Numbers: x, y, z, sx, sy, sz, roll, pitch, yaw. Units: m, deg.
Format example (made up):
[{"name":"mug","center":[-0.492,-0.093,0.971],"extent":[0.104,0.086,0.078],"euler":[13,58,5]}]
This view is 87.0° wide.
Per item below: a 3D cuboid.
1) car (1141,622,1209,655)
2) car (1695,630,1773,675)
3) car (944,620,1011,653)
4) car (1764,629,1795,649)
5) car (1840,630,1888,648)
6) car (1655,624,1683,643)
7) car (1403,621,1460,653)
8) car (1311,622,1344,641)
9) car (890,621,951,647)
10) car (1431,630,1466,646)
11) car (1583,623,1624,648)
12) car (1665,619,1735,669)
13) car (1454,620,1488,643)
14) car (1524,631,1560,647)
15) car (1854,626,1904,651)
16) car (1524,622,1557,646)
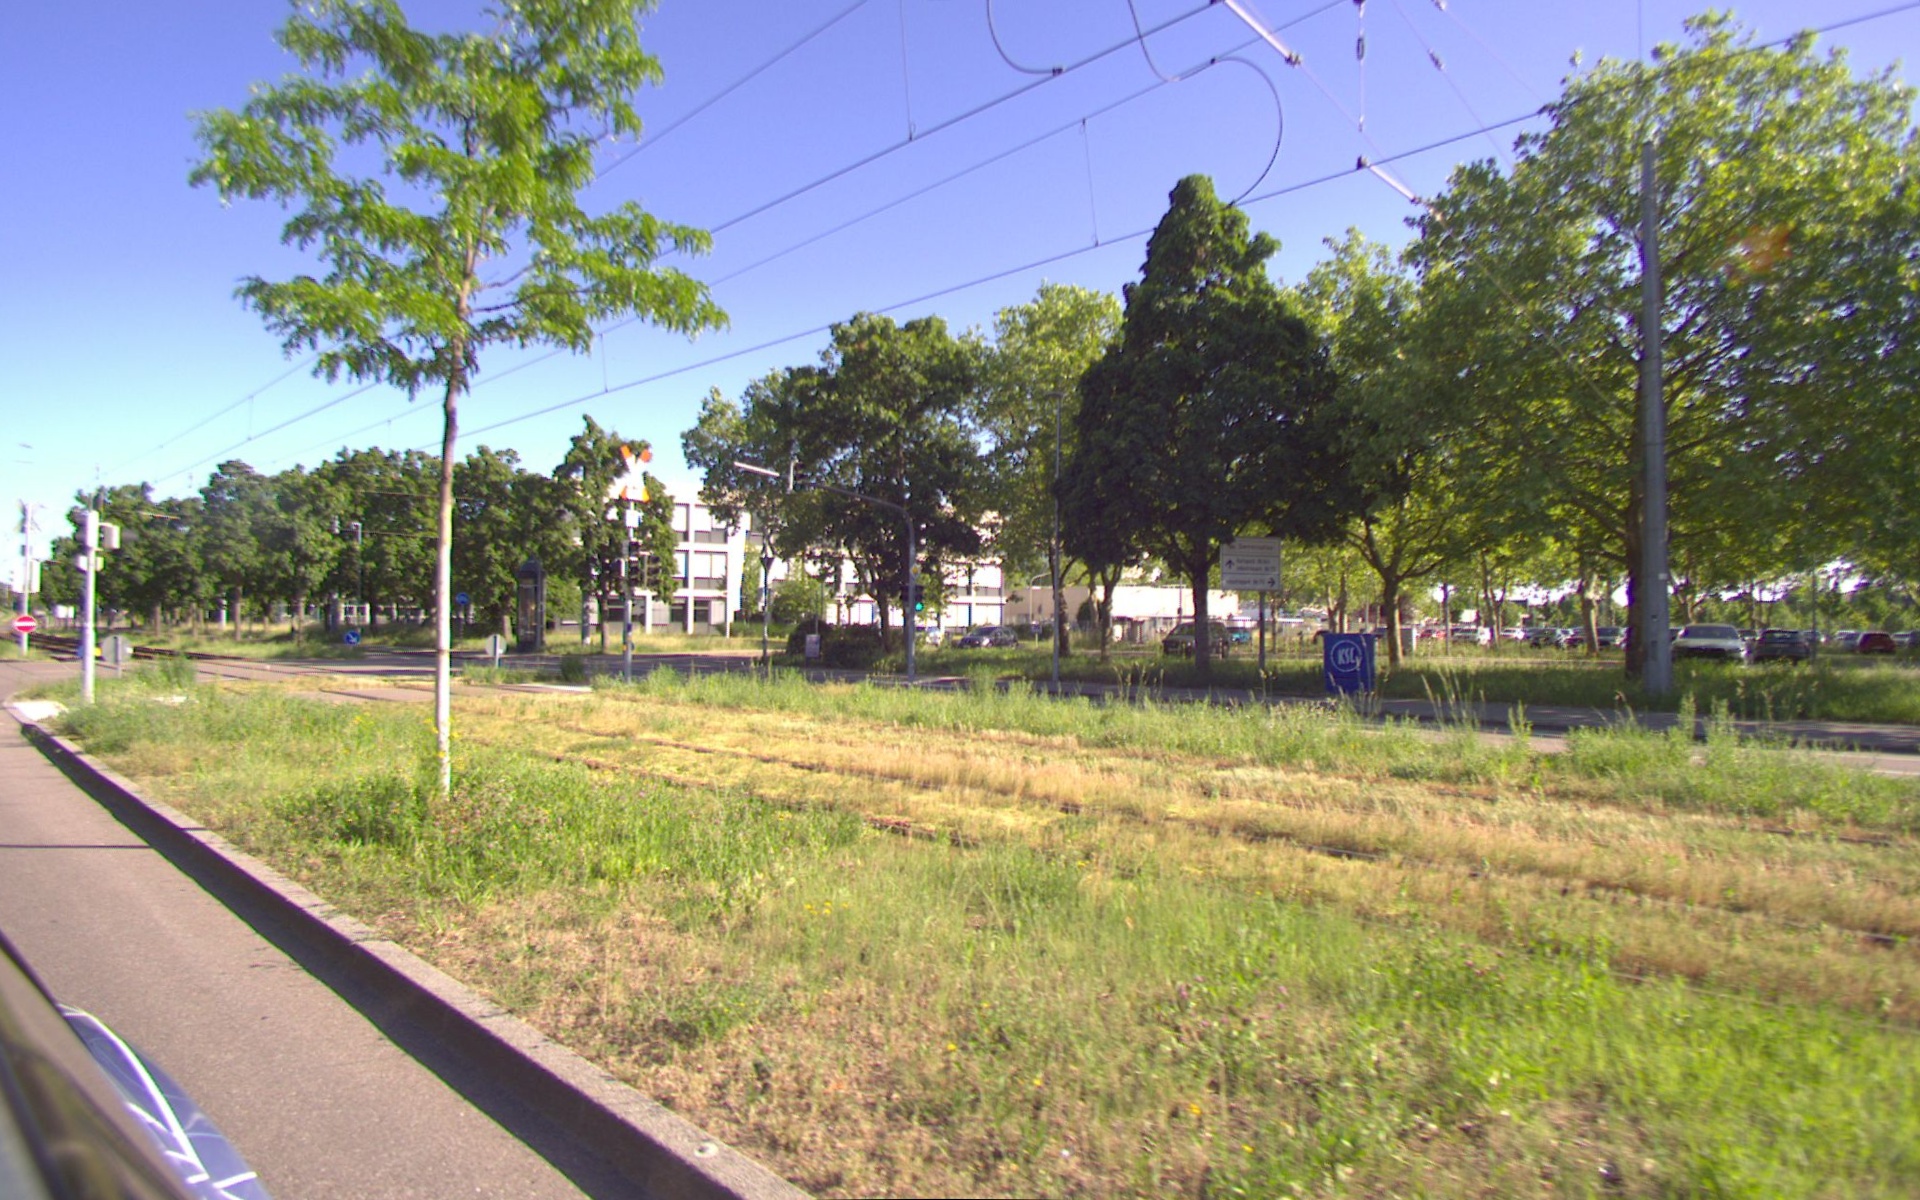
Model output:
[{"name":"car","center":[9.386,1.669,44.041],"extent":[1.865,1.392,3.960],"euler":[-1,-2,29]},{"name":"car","center":[22.351,1.477,29.238],"extent":[1.663,1.176,3.927],"euler":[-1,-2,38]},{"name":"car","center":[0.980,1.883,53.053],"extent":[1.824,1.681,3.958],"euler":[-1,-2,31]},{"name":"car","center":[61.846,2.958,76.374],"extent":[1.663,1.443,3.928],"euler":[-1,-2,37]},{"name":"car","center":[79.263,3.423,88.710],"extent":[4.356,1.561,1.996],"euler":[2,-2,-32]},{"name":"car","center":[56.659,2.662,80.832],"extent":[1.663,1.443,3.928],"euler":[-1,-2,37]},{"name":"car","center":[22.294,1.735,47.790],"extent":[1.663,1.443,3.928],"euler":[-1,-2,37]},{"name":"car","center":[32.428,2.775,89.268],"extent":[1.826,1.618,3.953],"euler":[-1,-2,34]},{"name":"car","center":[-2.618,2.274,67.901],"extent":[1.983,1.652,4.383],"euler":[-1,-2,31]},{"name":"car","center":[51.392,3.990,106.450],"extent":[4.365,1.561,1.978],"euler":[2,-3,-44]},{"name":"car","center":[38.804,2.117,60.980],"extent":[1.743,1.460,3.928],"euler":[-1,-2,37]},{"name":"car","center":[23.041,1.361,31.484],"extent":[1.663,1.443,3.928],"euler":[-1,-3,37]},{"name":"car","center":[38.374,2.323,75.950],"extent":[1.826,1.681,3.953],"euler":[-1,-2,34]},{"name":"car","center":[57.947,3.862,100.767],"extent":[4.365,1.561,1.991],"euler":[2,-3,-44]},{"name":"car","center":[54.912,2.283,60.554],"extent":[1.845,1.443,3.928],"euler":[-1,-2,37]},{"name":"car","center":[41.802,2.401,72.840],"extent":[1.826,1.681,3.953],"euler":[-1,-2,34]}]
